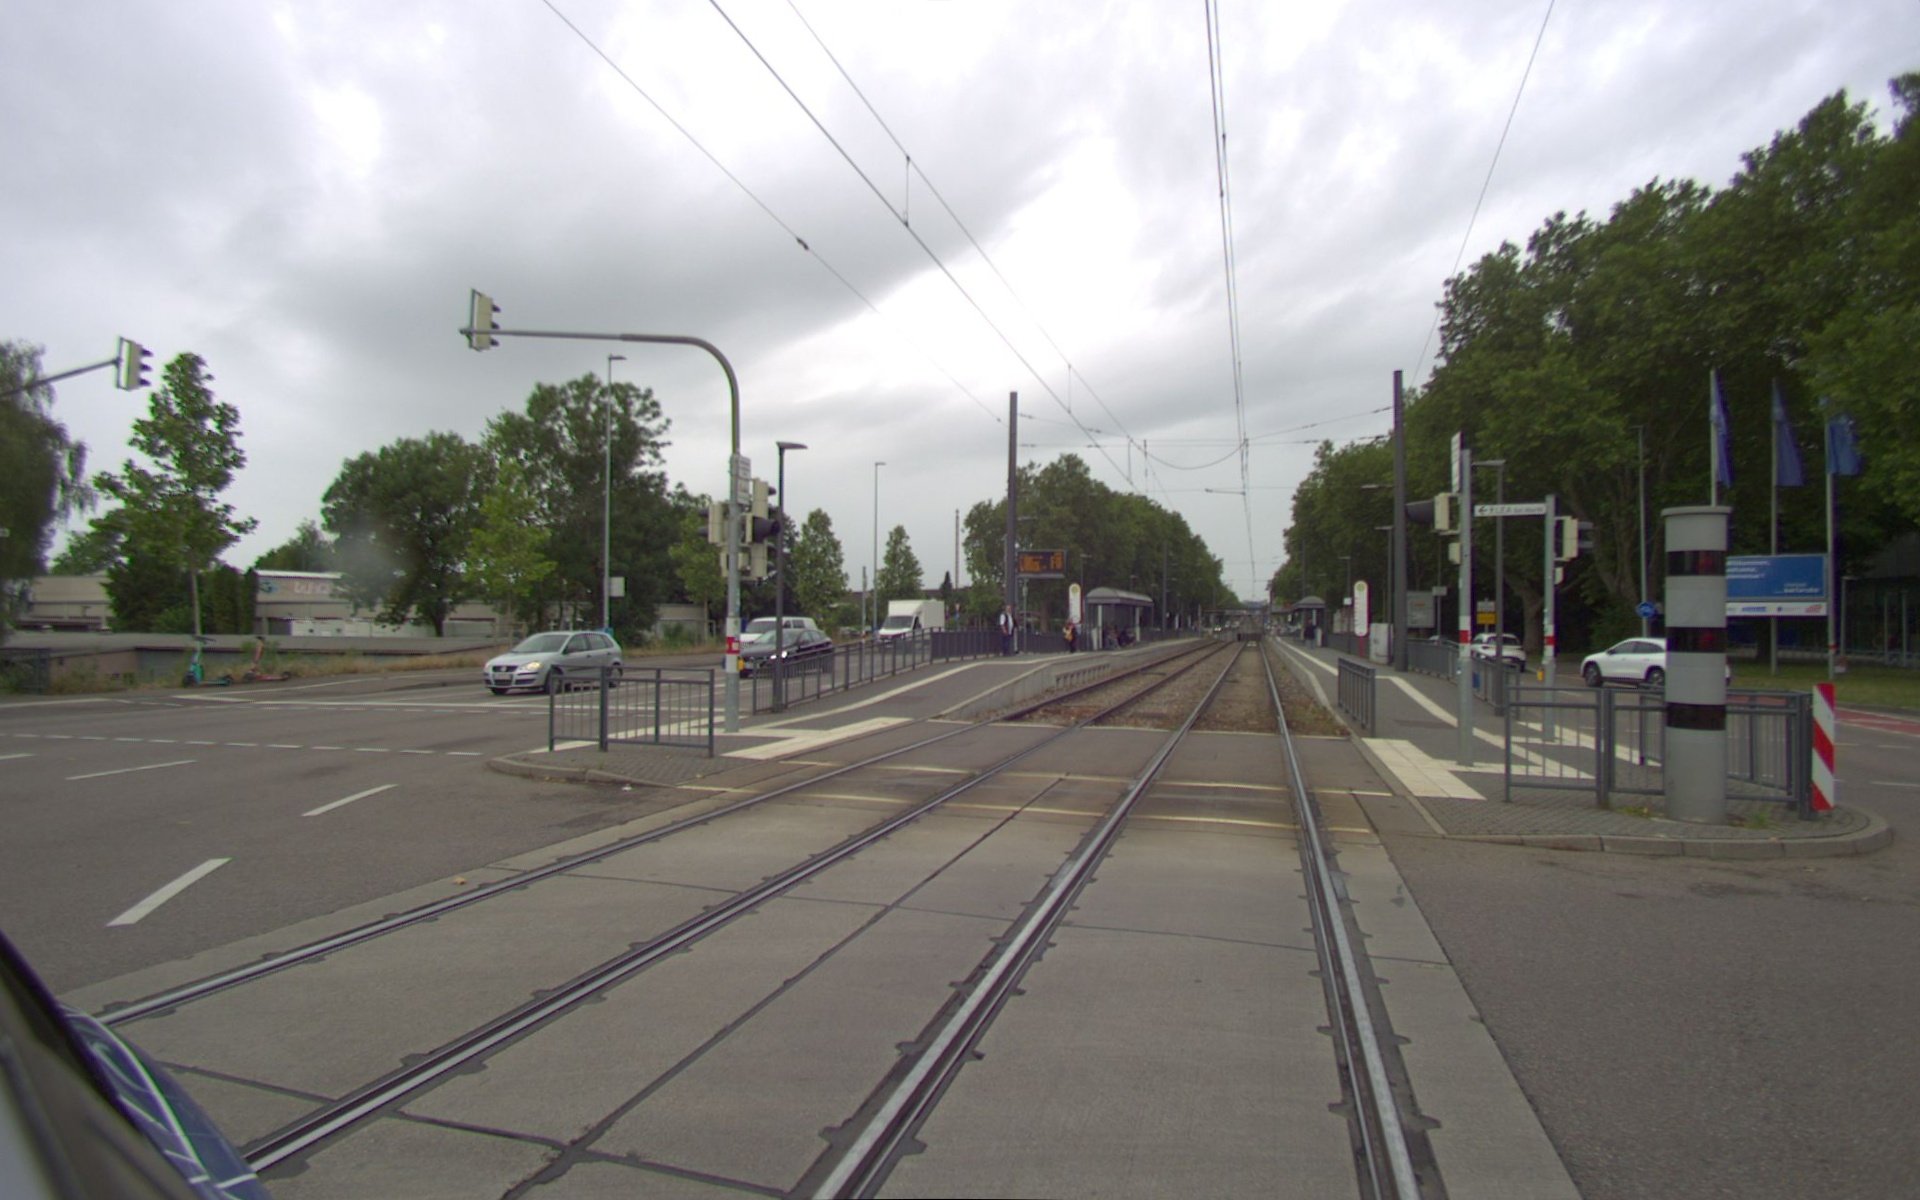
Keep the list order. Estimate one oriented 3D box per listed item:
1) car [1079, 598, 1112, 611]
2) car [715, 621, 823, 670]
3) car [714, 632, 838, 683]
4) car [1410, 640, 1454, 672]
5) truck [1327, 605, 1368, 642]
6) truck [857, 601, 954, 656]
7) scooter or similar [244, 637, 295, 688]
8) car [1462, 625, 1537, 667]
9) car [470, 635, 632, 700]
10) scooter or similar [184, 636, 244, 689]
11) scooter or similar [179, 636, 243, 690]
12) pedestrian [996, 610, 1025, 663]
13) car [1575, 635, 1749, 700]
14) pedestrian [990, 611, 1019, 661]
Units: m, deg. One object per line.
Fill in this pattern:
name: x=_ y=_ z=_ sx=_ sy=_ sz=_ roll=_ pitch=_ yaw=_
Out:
car: x=17.144 y=0.535 z=127.638 sx=3.960 sy=1.519 sz=1.803 roll=-1 pitch=-1 yaw=13
car: x=-7.842 y=1.875 z=42.111 sx=2.085 sy=1.894 sz=5.084 roll=-1 pitch=-2 yaw=21
car: x=-5.401 y=1.673 z=30.328 sx=1.982 sy=1.401 sz=4.321 roll=-1 pitch=-2 yaw=16
car: x=25.845 y=3.042 z=55.530 sx=1.619 sy=1.528 sz=3.405 roll=3 pitch=1 yaw=16
truck: x=42.496 y=2.592 z=111.296 sx=3.233 sy=3.691 sz=9.843 roll=2 pitch=-1 yaw=16
truck: x=-2.994 y=1.664 z=57.991 sx=2.812 sy=2.946 sz=6.487 roll=-2 pitch=-2 yaw=25
scooter or similar: x=-17.833 y=1.608 z=26.140 sx=0.373 sy=1.224 sz=1.039 roll=1 pitch=1 yaw=24
car: x=23.667 y=1.981 z=44.524 sx=1.779 sy=1.597 sz=4.126 roll=3 pitch=0 yaw=12
car: x=-9.784 y=1.575 z=24.551 sx=1.668 sy=1.430 sz=3.830 roll=-1 pitch=-2 yaw=16
scooter or similar: x=-18.477 y=1.535 z=25.077 sx=0.388 sy=1.252 sz=1.147 roll=1 pitch=-1 yaw=19
scooter or similar: x=-18.175 y=1.520 z=24.577 sx=0.475 sy=1.252 sz=1.145 roll=1 pitch=-2 yaw=24
pedestrian: x=1.694 y=1.209 z=33.997 sx=0.782 sy=1.755 sz=0.582 roll=-2 pitch=-1 yaw=21
car: x=20.592 y=1.925 z=29.945 sx=1.865 sy=1.597 sz=4.414 roll=2 pitch=0 yaw=-3
pedestrian: x=1.405 y=1.129 z=31.883 sx=0.706 sy=1.572 sz=0.628 roll=-2 pitch=-1 yaw=20
